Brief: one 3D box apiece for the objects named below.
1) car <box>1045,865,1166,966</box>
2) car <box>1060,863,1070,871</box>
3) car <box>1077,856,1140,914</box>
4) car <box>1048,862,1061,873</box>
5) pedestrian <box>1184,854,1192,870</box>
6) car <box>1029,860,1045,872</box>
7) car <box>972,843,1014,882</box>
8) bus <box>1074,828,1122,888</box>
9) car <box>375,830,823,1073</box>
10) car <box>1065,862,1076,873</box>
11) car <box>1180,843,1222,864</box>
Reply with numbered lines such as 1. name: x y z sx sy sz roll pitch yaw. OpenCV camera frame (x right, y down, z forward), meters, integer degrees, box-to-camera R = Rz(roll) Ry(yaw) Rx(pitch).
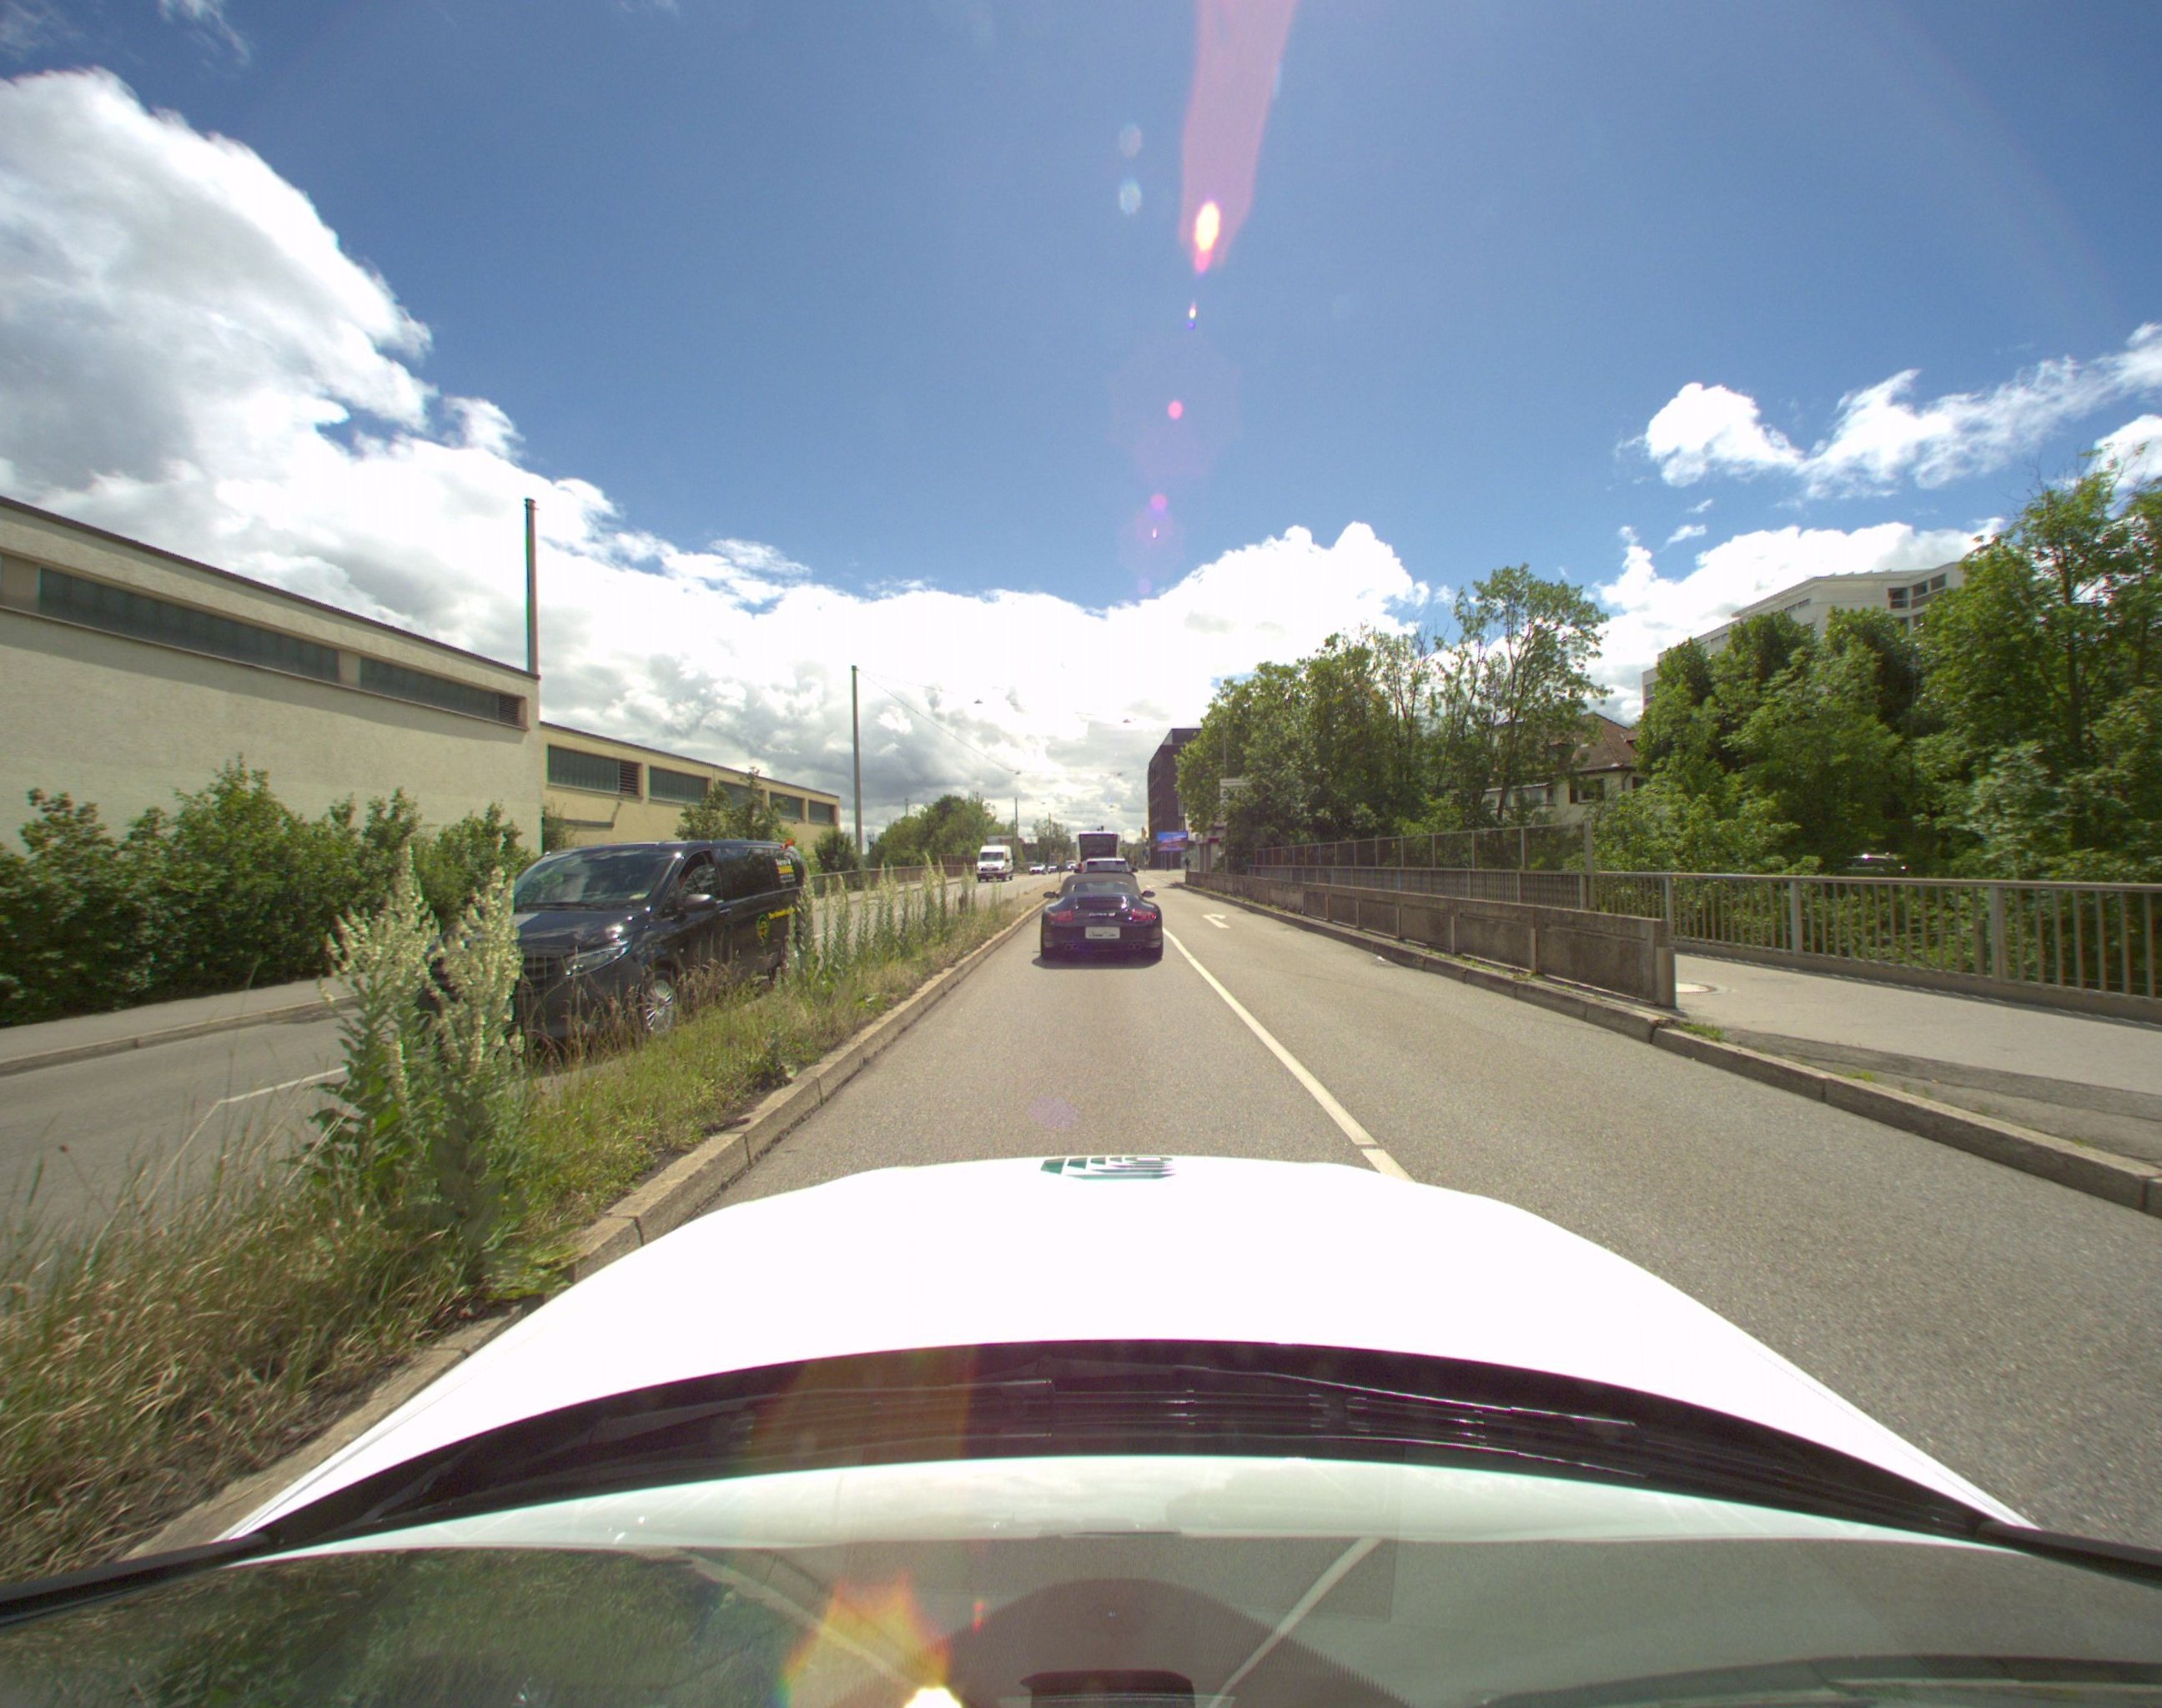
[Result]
1. car: 0.350 0.891 13.523 1.714 1.275 4.088 0 1 0
2. car: -2.762 2.274 141.276 1.622 1.430 4.001 -1 -1 1
3. car: 0.877 0.933 26.469 1.873 1.594 4.231 0 1 1
4. car: -3.836 1.991 118.737 1.804 1.560 4.207 0 -1 1
5. pedestrian: 11.684 0.891 88.937 0.673 1.696 0.602 -1 -1 26
6. car: -5.297 1.453 98.605 1.631 1.363 4.195 -2 0 1
7. car: -6.244 0.585 58.692 2.059 2.571 6.823 -2 0 1
8. bus: 1.227 0.035 52.054 2.678 3.254 12.067 0 3 2
9. car: -4.606 0.763 8.928 1.987 1.888 4.867 -1 0 0
10. car: -1.983 2.621 159.388 1.895 1.887 5.314 -3 -1 1
11. car: 12.784 -0.049 86.890 4.214 1.936 2.030 -4 -1 2
